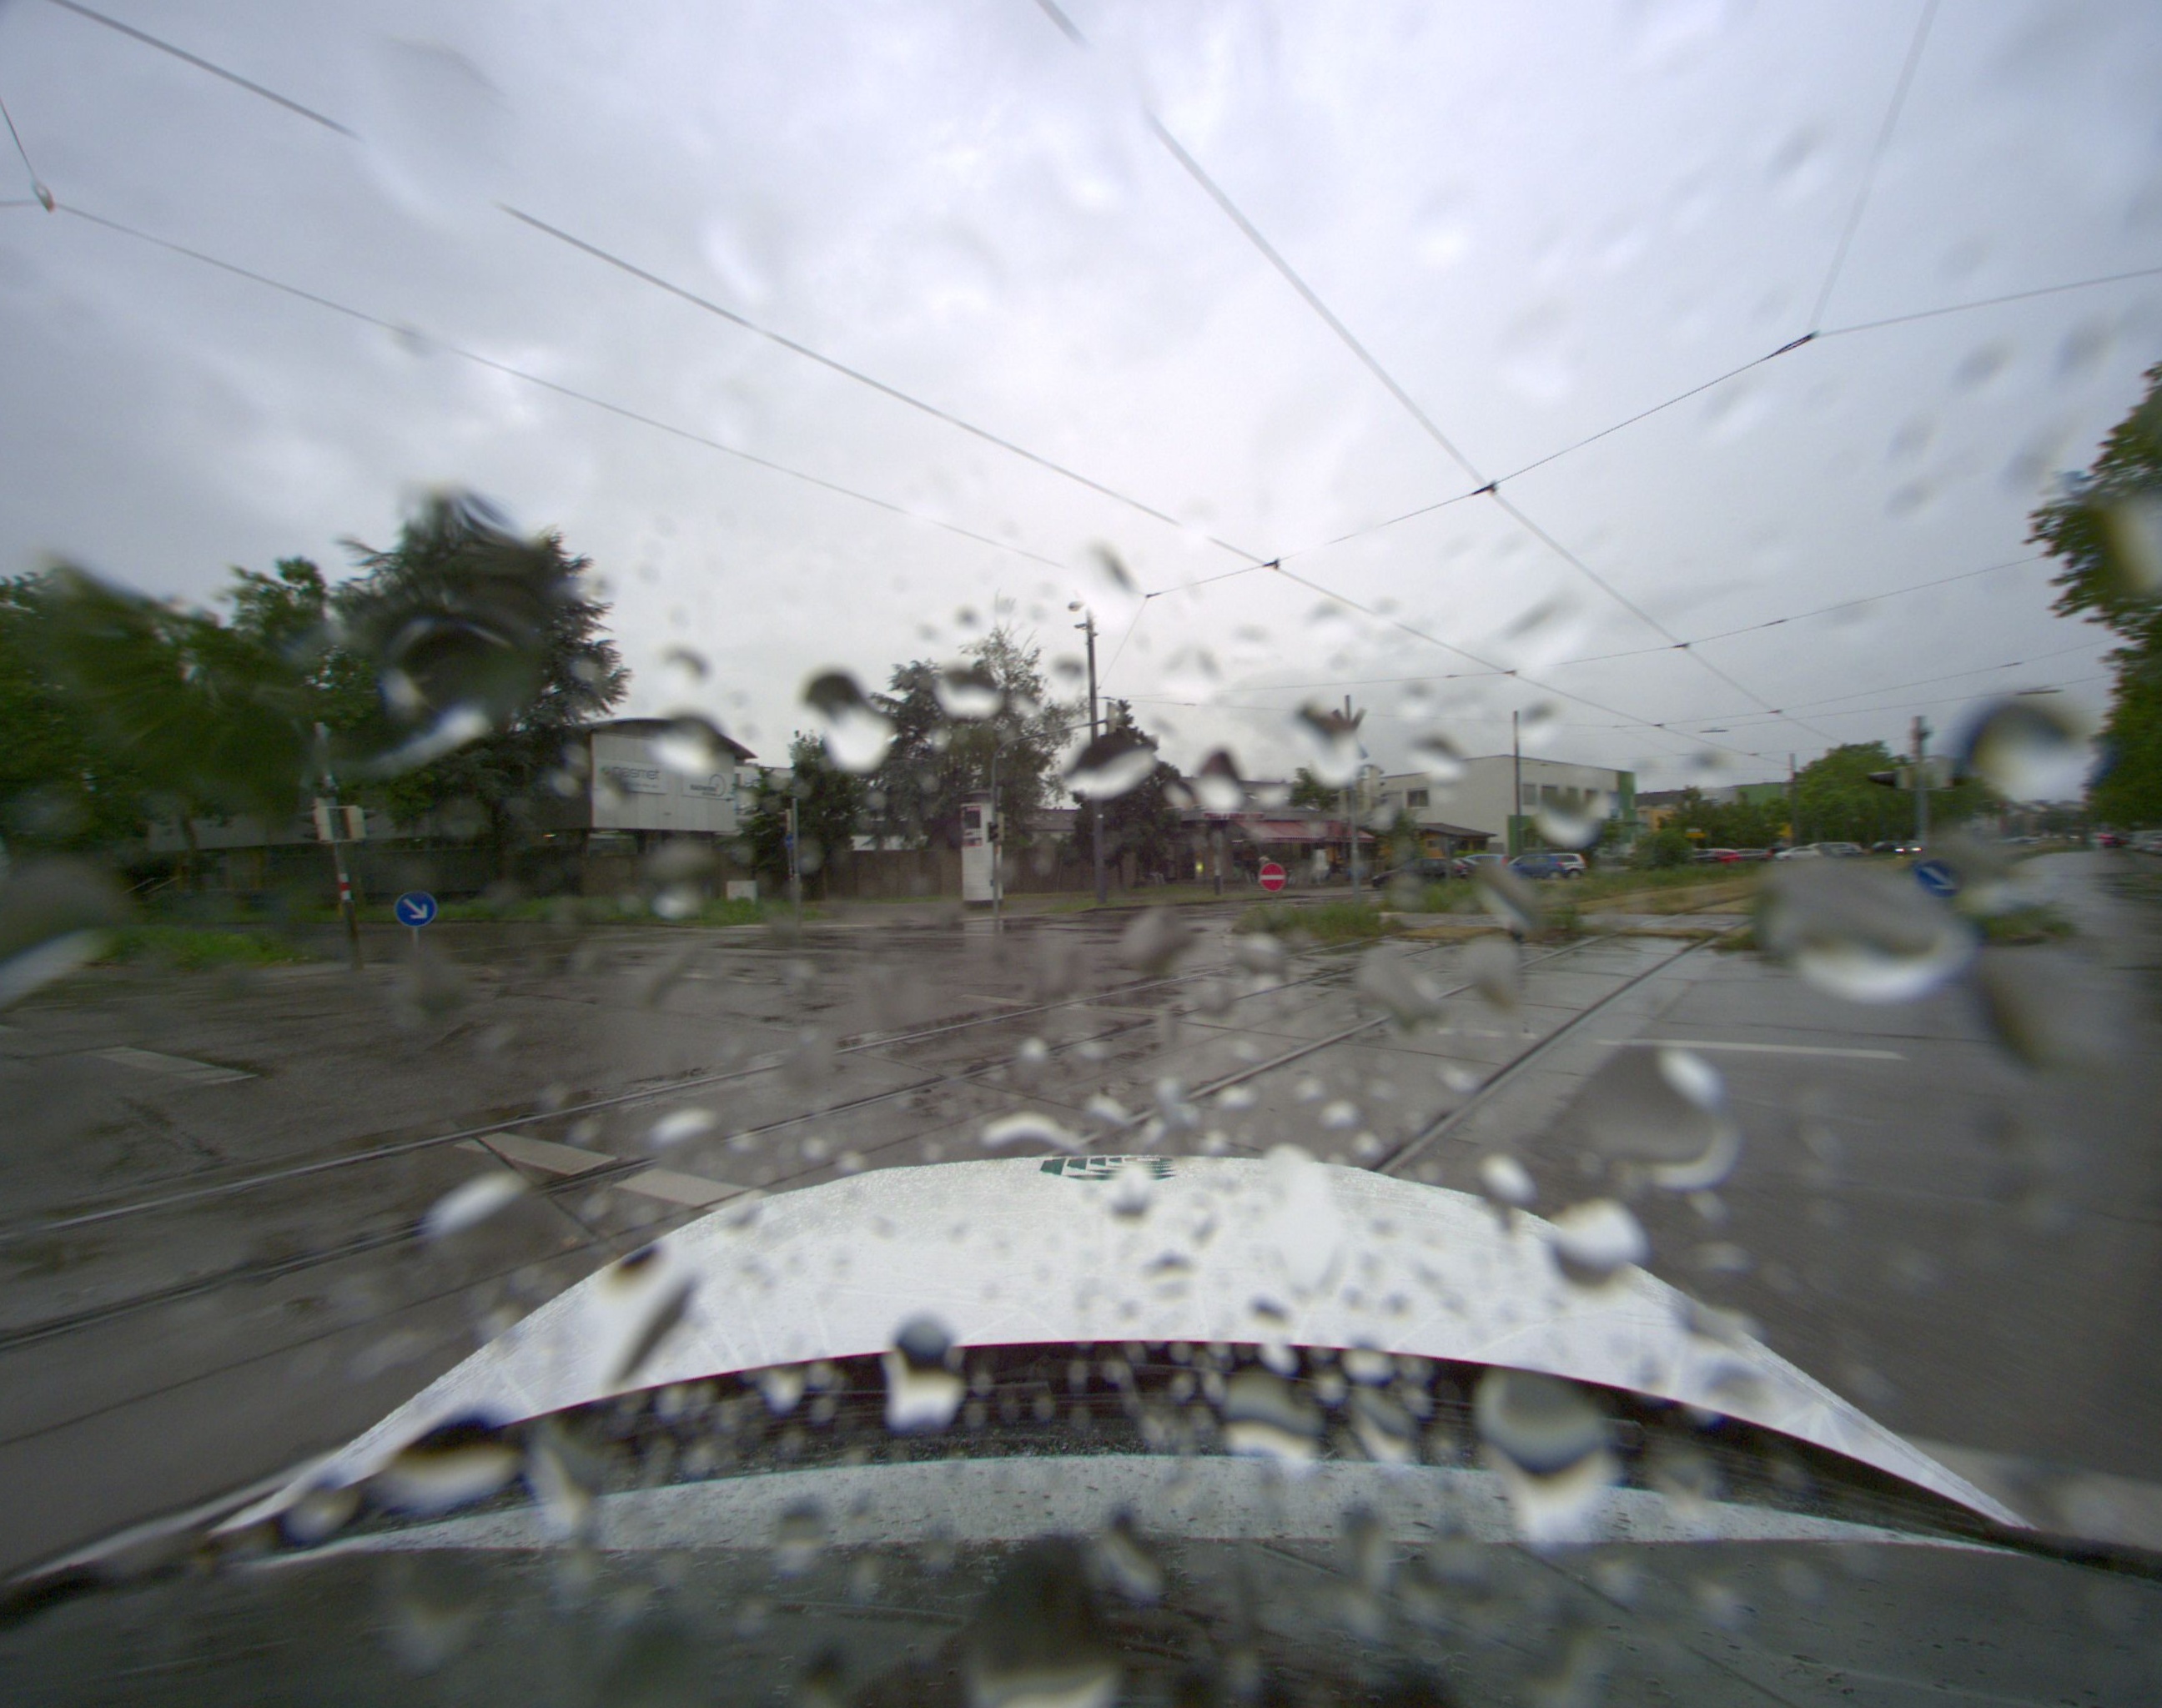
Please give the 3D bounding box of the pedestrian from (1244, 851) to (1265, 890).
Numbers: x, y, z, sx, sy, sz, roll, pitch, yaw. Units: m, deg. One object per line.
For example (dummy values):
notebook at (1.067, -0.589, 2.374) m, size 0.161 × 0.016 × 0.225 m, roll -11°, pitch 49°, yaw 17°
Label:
pedestrian at (8.297, 0.780, 38.870) m, size 0.718 × 1.797 × 0.892 m, roll 0°, pitch 1°, yaw 29°

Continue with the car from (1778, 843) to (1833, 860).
car at (72.204, -0.236, 81.263) m, size 3.740 × 1.702 × 1.848 m, roll -1°, pitch 0°, yaw 26°

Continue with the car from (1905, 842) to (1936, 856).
car at (103.516, -0.595, 100.384) m, size 4.013 × 1.662 × 1.878 m, roll 0°, pitch 0°, yaw -32°

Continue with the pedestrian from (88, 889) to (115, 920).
pedestrian at (-53.767, 2.775, 44.698) m, size 0.816 × 1.668 × 0.675 m, roll -1°, pitch 0°, yaw 14°

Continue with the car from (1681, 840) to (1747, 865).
car at (49.238, -0.098, 63.438) m, size 3.948 × 1.863 × 2.013 m, roll -1°, pitch 0°, yaw 36°

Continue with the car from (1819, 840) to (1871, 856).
car at (87.178, -0.669, 92.983) m, size 3.951 × 1.758 × 2.021 m, roll -1°, pitch 0°, yaw 24°

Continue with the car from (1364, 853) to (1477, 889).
car at (15.691, 0.809, 37.756) m, size 4.433 × 1.418 × 1.870 m, roll -4°, pitch -2°, yaw 36°

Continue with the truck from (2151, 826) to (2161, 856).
truck at (87.538, -1.065, 63.588) m, size 2.440 × 2.338 × 4.688 m, roll 0°, pitch 0°, yaw -34°

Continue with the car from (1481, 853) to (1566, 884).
car at (24.321, 0.807, 44.908) m, size 3.951 × 1.582 × 1.941 m, roll -2°, pitch -1°, yaw 24°

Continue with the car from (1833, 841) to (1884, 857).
car at (94.390, -0.621, 98.923) m, size 3.951 × 1.832 × 2.011 m, roll -1°, pitch 0°, yaw 24°

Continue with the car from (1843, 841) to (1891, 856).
car at (98.583, -0.649, 102.201) m, size 3.949 × 1.832 × 2.013 m, roll -1°, pitch 0°, yaw 31°

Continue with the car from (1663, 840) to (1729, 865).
car at (46.702, -0.075, 61.911) m, size 3.948 × 1.842 × 2.013 m, roll -1°, pitch 0°, yaw 36°

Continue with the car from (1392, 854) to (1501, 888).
car at (17.612, 0.821, 39.362) m, size 4.453 × 1.418 × 1.870 m, roll -4°, pitch -2°, yaw 37°

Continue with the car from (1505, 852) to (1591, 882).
car at (26.865, 0.762, 47.003) m, size 4.073 × 1.641 × 1.940 m, roll -2°, pitch -1°, yaw 21°

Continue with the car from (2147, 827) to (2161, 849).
car at (101.817, -1.485, 74.845) m, size 2.054 × 2.013 × 4.596 m, roll 0°, pitch 0°, yaw -39°

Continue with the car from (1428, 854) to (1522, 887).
car at (20.155, 0.849, 41.720) m, size 3.948 × 1.582 × 1.870 m, roll -2°, pitch -1°, yaw 40°

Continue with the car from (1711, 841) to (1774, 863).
car at (57.523, -0.157, 70.937) m, size 3.949 × 1.887 × 2.012 m, roll -1°, pitch 0°, yaw 29°
